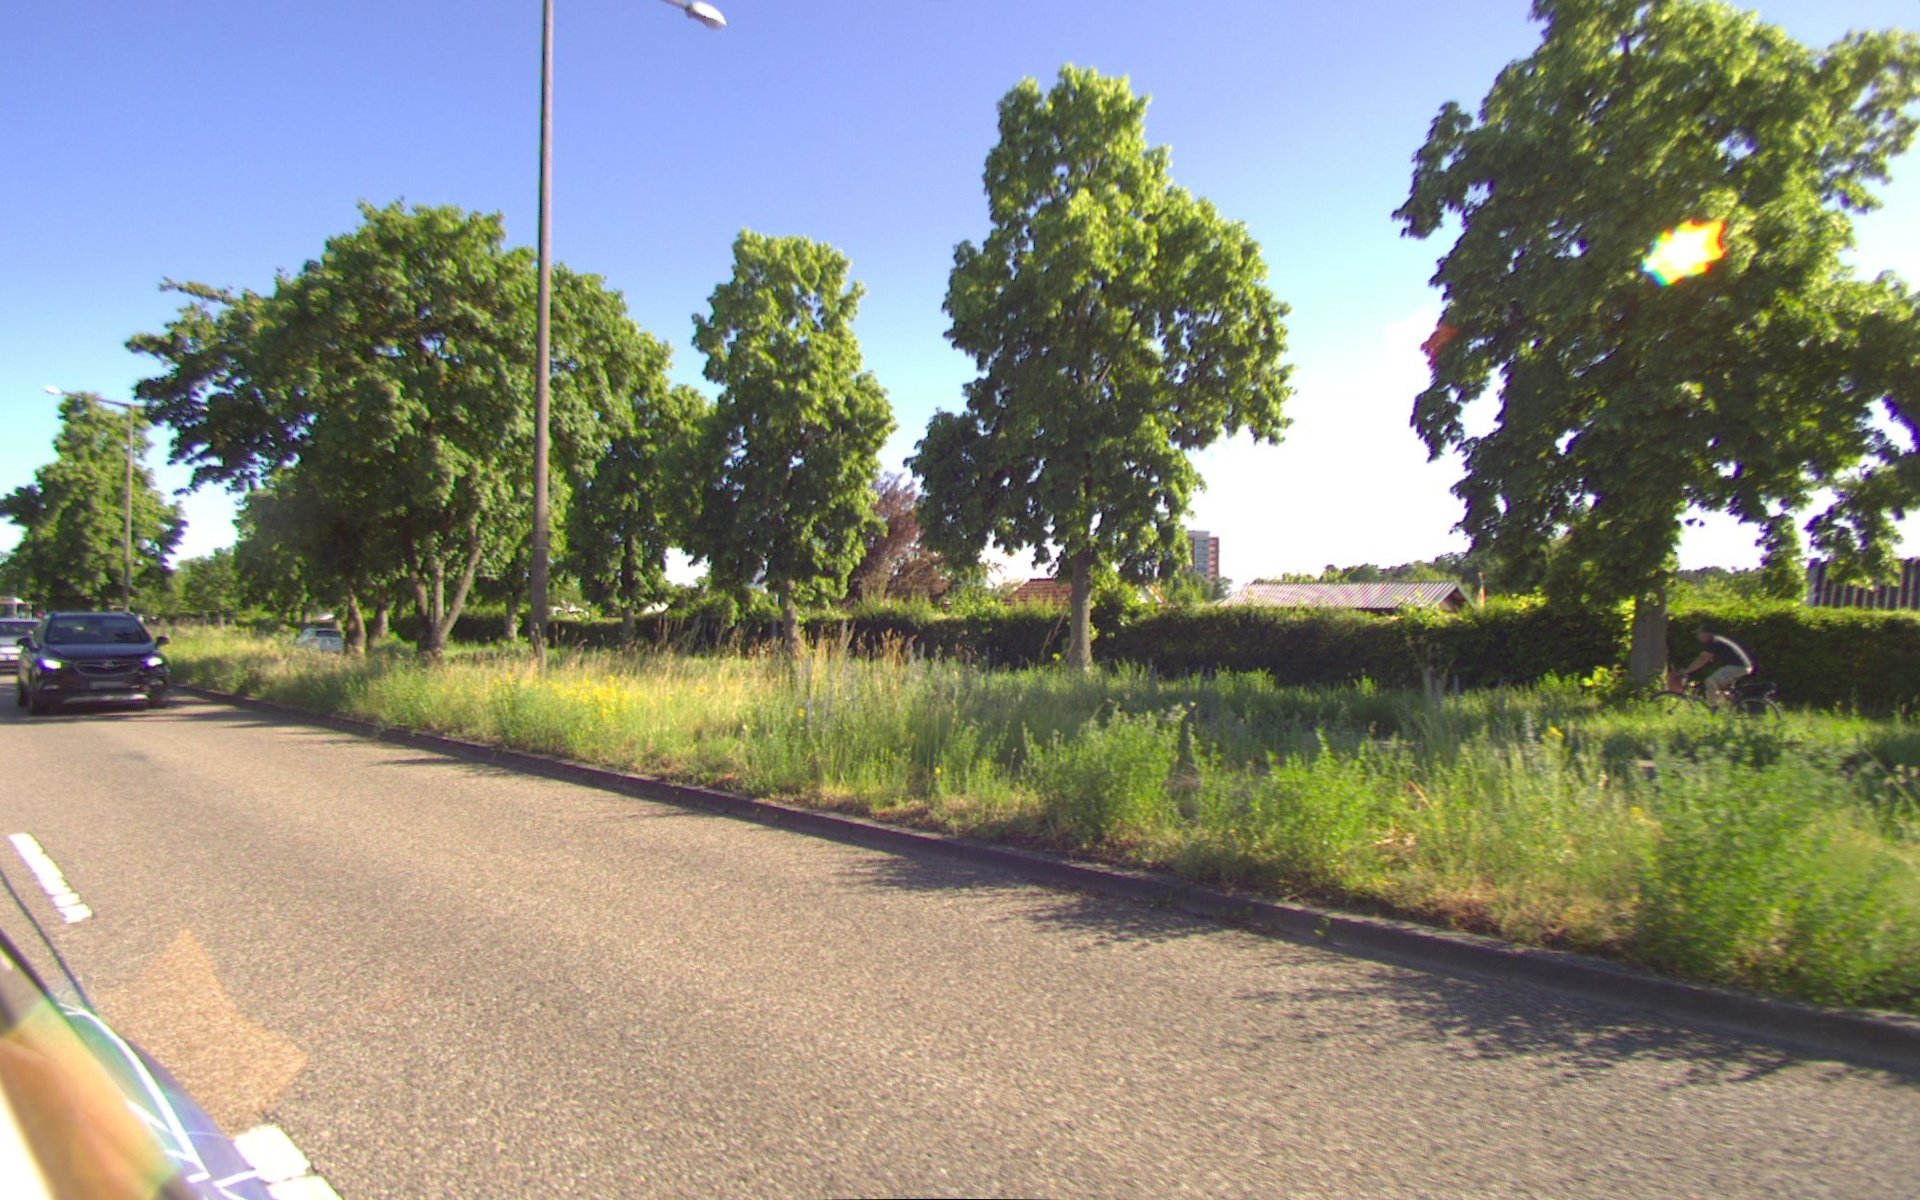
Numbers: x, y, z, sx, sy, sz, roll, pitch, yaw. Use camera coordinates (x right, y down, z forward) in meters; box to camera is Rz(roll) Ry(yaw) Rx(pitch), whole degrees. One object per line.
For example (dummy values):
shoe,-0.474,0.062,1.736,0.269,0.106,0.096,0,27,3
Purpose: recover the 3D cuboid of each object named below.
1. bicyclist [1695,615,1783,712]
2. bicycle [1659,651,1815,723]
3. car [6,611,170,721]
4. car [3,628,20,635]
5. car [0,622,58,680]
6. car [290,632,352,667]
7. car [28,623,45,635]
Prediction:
bicyclist,11.946,0.954,15.522,1.000,1.432,0.682,-1,-2,42
bicycle,11.913,1.309,15.556,1.841,1.004,0.682,-1,-2,42
car,-15.106,1.032,17.444,1.786,1.627,4.517,2,-2,-45
car,-171.490,5.687,182.932,3.500,1.297,1.613,-1,-2,35
car,-27.377,1.423,29.139,4.648,1.574,1.798,-1,-2,45
car,-32.791,2.495,51.888,1.916,1.669,4.003,0,-1,-45
car,-146.836,4.600,160.920,3.572,1.818,1.609,-1,-2,43
